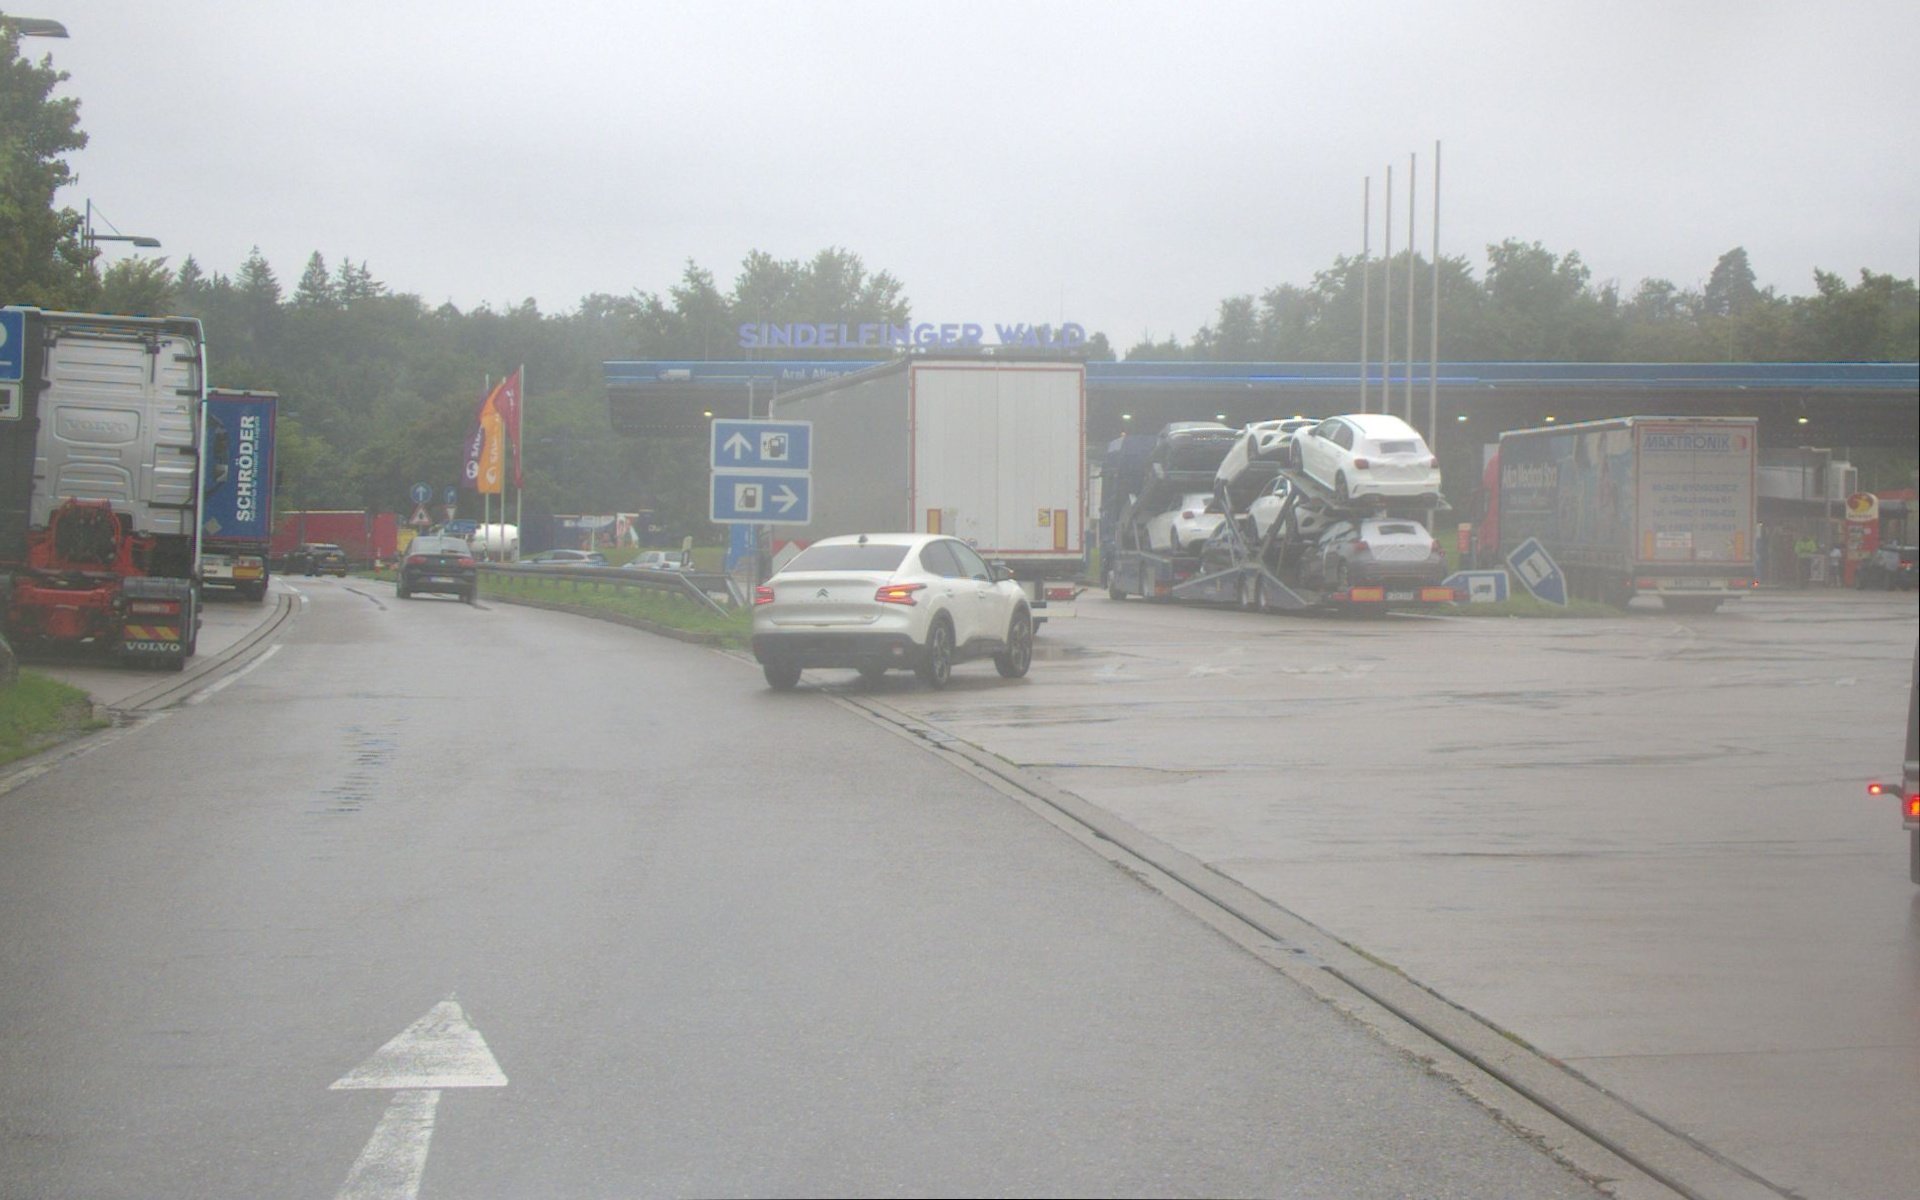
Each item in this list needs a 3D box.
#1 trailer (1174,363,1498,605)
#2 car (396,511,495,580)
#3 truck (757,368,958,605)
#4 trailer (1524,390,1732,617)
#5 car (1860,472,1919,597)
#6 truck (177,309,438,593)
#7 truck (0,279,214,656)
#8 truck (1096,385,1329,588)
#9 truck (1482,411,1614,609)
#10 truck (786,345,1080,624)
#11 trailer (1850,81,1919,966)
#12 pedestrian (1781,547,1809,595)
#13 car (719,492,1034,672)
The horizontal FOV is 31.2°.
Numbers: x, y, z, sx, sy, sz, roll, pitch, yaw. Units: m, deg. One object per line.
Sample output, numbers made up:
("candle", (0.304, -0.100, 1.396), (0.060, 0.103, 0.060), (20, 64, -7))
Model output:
("trailer", (6.998, -2.205, 66.435), (3.215, 4.174, 11.533), (1, 1, -9))
("car", (-11.681, -1.234, 78.260), (1.878, 1.456, 4.001), (2, 1, -4))
("truck", (-1.865, -1.931, 59.596), (2.370, 3.861, 7.014), (0, 1, -11))
("trailer", (14.278, -2.014, 74.228), (1.993, 4.543, 9.811), (1, 1, -3))
("car", (17.228, -1.087, 59.675), (1.993, 2.007, 4.000), (4, -1, -1))
("truck", (-13.541, -2.941, 70.512), (4.790, 5.287, 11.074), (1, 1, -13))
("truck", (-10.012, -1.437, 38.766), (2.914, 3.891, 6.318), (0, 1, -11))
("truck", (5.472, -2.501, 76.330), (3.233, 4.174, 8.446), (1, 1, -9))
("truck", (13.899, -2.100, 81.517), (1.988, 4.534, 4.796), (1, 1, -3))
("truck", (-0.680, -1.756, 53.988), (2.370, 3.860, 12.459), (0, 1, -11))
("trailer", (5.907, -0.318, 17.113), (1.982, 3.213, 10.311), (1, 1, 19))
("pedestrian", (27.573, -0.959, 113.546), (0.719, 1.516, 0.742), (3, -1, 23))
("car", (-0.755, -0.191, 34.281), (1.995, 1.673, 3.997), (1, 1, 16))
